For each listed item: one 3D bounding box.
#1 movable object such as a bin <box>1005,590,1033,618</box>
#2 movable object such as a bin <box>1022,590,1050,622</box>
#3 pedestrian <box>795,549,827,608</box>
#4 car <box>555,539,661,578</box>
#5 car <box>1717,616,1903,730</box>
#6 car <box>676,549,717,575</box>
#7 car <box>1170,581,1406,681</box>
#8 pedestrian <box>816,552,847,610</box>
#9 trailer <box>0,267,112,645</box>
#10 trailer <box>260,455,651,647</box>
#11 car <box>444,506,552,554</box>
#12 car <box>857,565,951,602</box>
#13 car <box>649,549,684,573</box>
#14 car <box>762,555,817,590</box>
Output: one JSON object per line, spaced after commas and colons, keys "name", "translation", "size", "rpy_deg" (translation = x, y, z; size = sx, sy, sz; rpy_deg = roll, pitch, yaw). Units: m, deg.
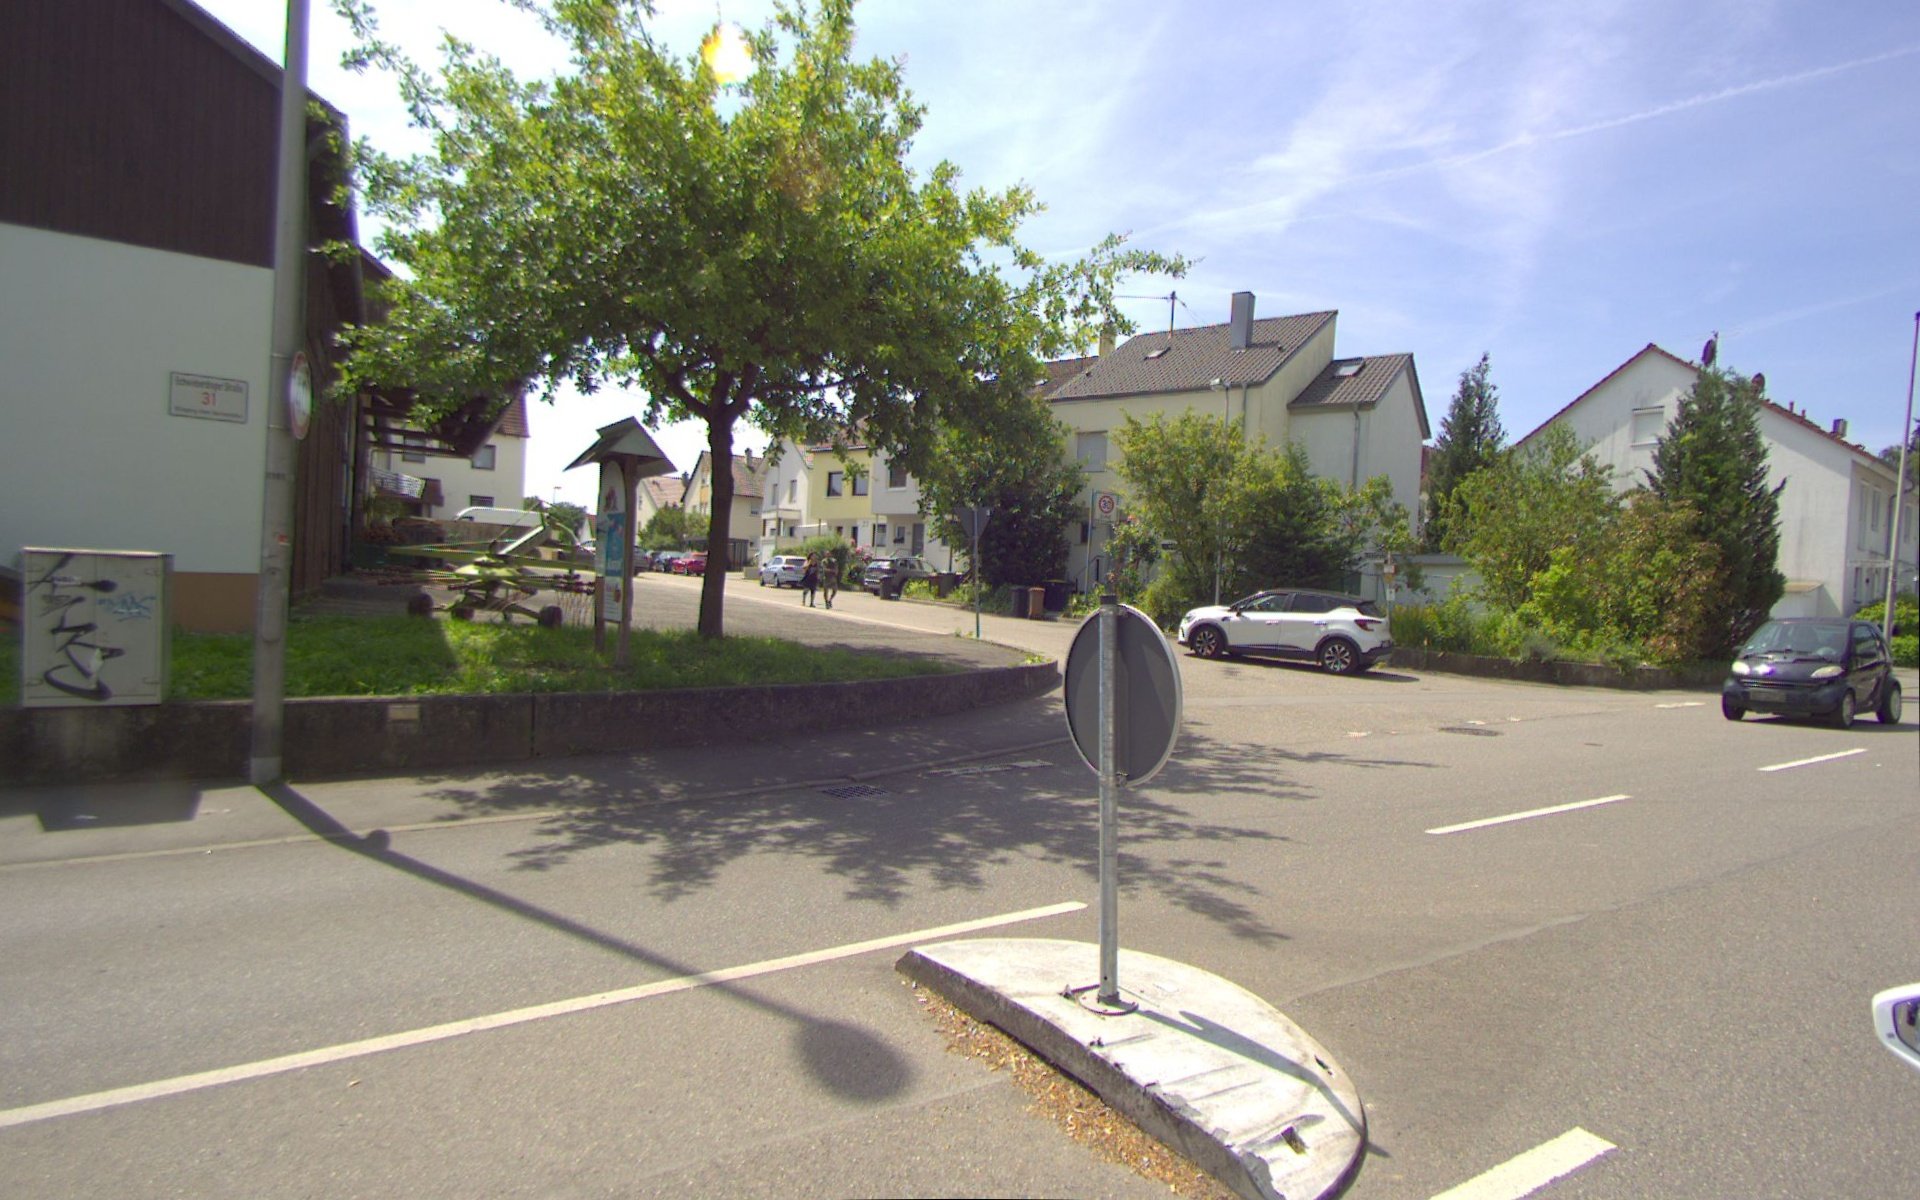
{"name": "movable object such as a bin", "translation": [1.802, 0.132, 30.624], "size": [0.595, 0.821, 0.636], "rpy_deg": [1, 2, -24]}
{"name": "movable object such as a bin", "translation": [2.244, 0.187, 29.645], "size": [0.584, 0.902, 0.576], "rpy_deg": [1, 3, -23]}
{"name": "pedestrian", "translation": [-4.190, -0.603, 28.272], "size": [0.591, 1.595, 0.714], "rpy_deg": [4, 0, -27]}
{"name": "car", "translation": [-15.609, -1.839, 44.548], "size": [4.157, 1.433, 1.999], "rpy_deg": [4, 2, 23]}
{"name": "car", "translation": [12.673, 1.024, 14.956], "size": [2.773, 1.530, 1.470], "rpy_deg": [1, -1, -35]}
{"name": "car", "translation": [-15.956, -2.291, 60.786], "size": [1.564, 1.400, 2.904], "rpy_deg": [1, 3, -33]}
{"name": "car", "translation": [6.560, 0.553, 20.271], "size": [4.103, 1.550, 1.782], "rpy_deg": [6, 3, 36]}
{"name": "pedestrian", "translation": [-3.653, -0.536, 28.538], "size": [0.579, 1.595, 0.721], "rpy_deg": [4, 0, -26]}
{"name": "trailer", "translation": [-10.072, -1.161, 7.015], "size": [6.104, 2.887, 1.703], "rpy_deg": [1, 1, -32]}
{"name": "trailer", "translation": [-5.449, -0.546, 11.577], "size": [2.711, 1.714, 3.705], "rpy_deg": [3, 2, -3]}
{"name": "car", "translation": [-22.676, -3.404, 49.348], "size": [4.605, 2.041, 1.983], "rpy_deg": [1, 2, -31]}
{"name": "car", "translation": [-2.333, -0.684, 42.283], "size": [3.764, 1.400, 1.542], "rpy_deg": [1, 3, -41]}
{"name": "car", "translation": [-19.216, -2.571, 65.714], "size": [1.388, 1.399, 2.904], "rpy_deg": [3, 2, -33]}
{"name": "car", "translation": [-7.842, -1.285, 46.036], "size": [1.511, 1.417, 3.117], "rpy_deg": [2, 2, -28]}
